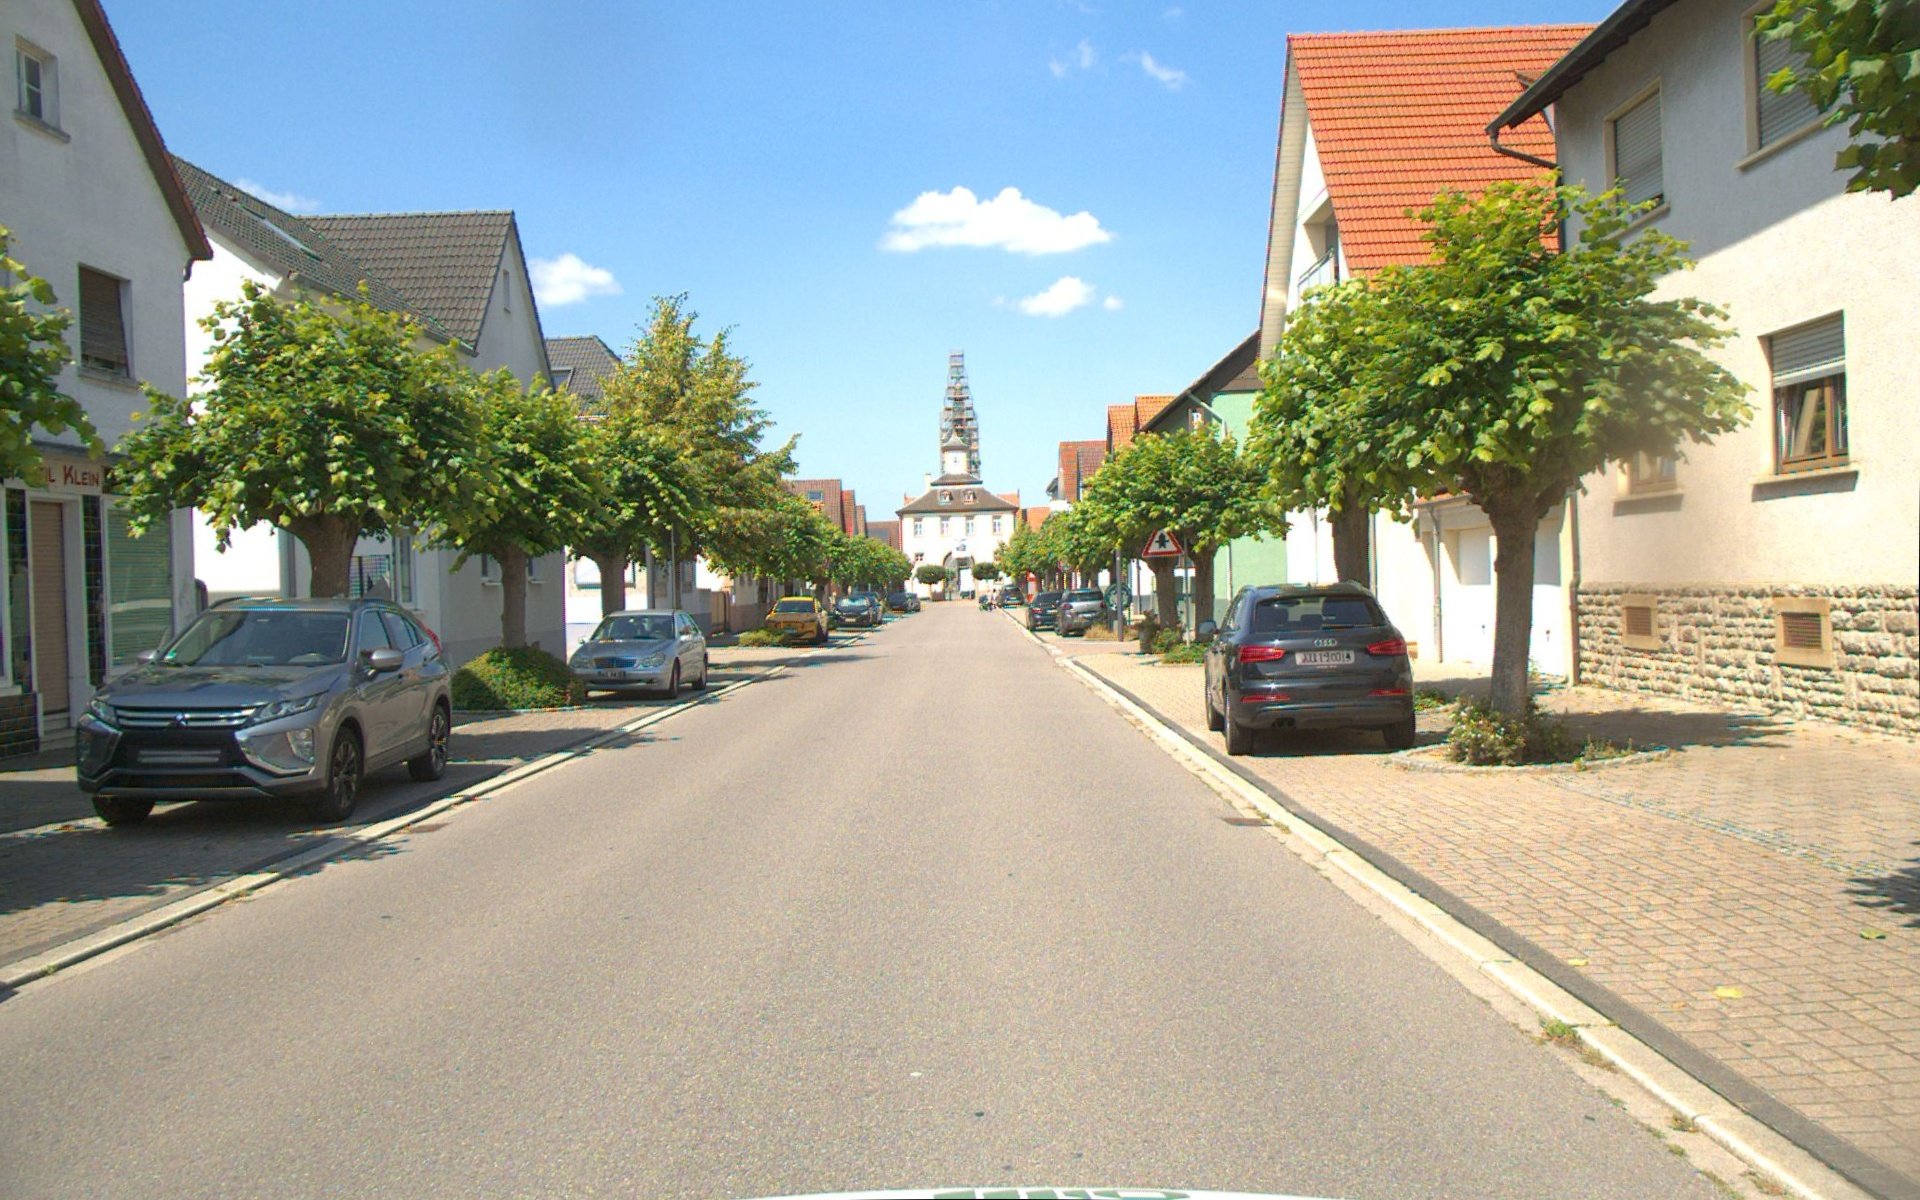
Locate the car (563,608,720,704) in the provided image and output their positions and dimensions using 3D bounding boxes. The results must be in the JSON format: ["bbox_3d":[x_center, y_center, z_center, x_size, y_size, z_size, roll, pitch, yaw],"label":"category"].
[{"bbox_3d":[-5.308,0.886,28.076,1.803,1.420,4.406,-1,0,0],"label":"car"}]

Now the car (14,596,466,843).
[{"bbox_3d":[-5.581,0.820,13.523,1.954,1.681,4.365,1,0,-3],"label":"car"}]

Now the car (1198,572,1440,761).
[{"bbox_3d":[3.525,0.578,16.942,1.786,1.613,4.059,-3,0,4],"label":"car"}]

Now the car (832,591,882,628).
[{"bbox_3d":[-4.906,0.416,79.316,1.952,1.639,4.690,-1,1,1],"label":"car"}]

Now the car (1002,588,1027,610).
[{"bbox_3d":[4.200,-0.085,128.088,1.800,1.582,4.314,-3,0,1],"label":"car"}]

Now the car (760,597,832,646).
[{"bbox_3d":[-5.677,0.723,57.804,1.952,1.639,4.689,0,0,1],"label":"car"}]

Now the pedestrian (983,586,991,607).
[{"bbox_3d":[1.845,-0.264,113.415,0.352,1.427,0.319,-2,0,37],"label":"pedestrian"}]

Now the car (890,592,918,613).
[{"bbox_3d":[-4.348,0.192,127.937,1.952,1.639,3.855,0,0,1],"label":"car"}]

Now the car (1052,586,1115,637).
[{"bbox_3d":[4.250,0.375,57.338,1.800,1.636,3.999,-1,0,-1],"label":"car"}]

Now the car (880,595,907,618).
[{"bbox_3d":[-4.869,0.472,122.194,1.721,1.582,4.020,-2,0,1],"label":"car"}]

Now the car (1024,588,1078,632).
[{"bbox_3d":[3.530,0.367,64.940,1.800,1.582,4.313,-3,0,0],"label":"car"}]
